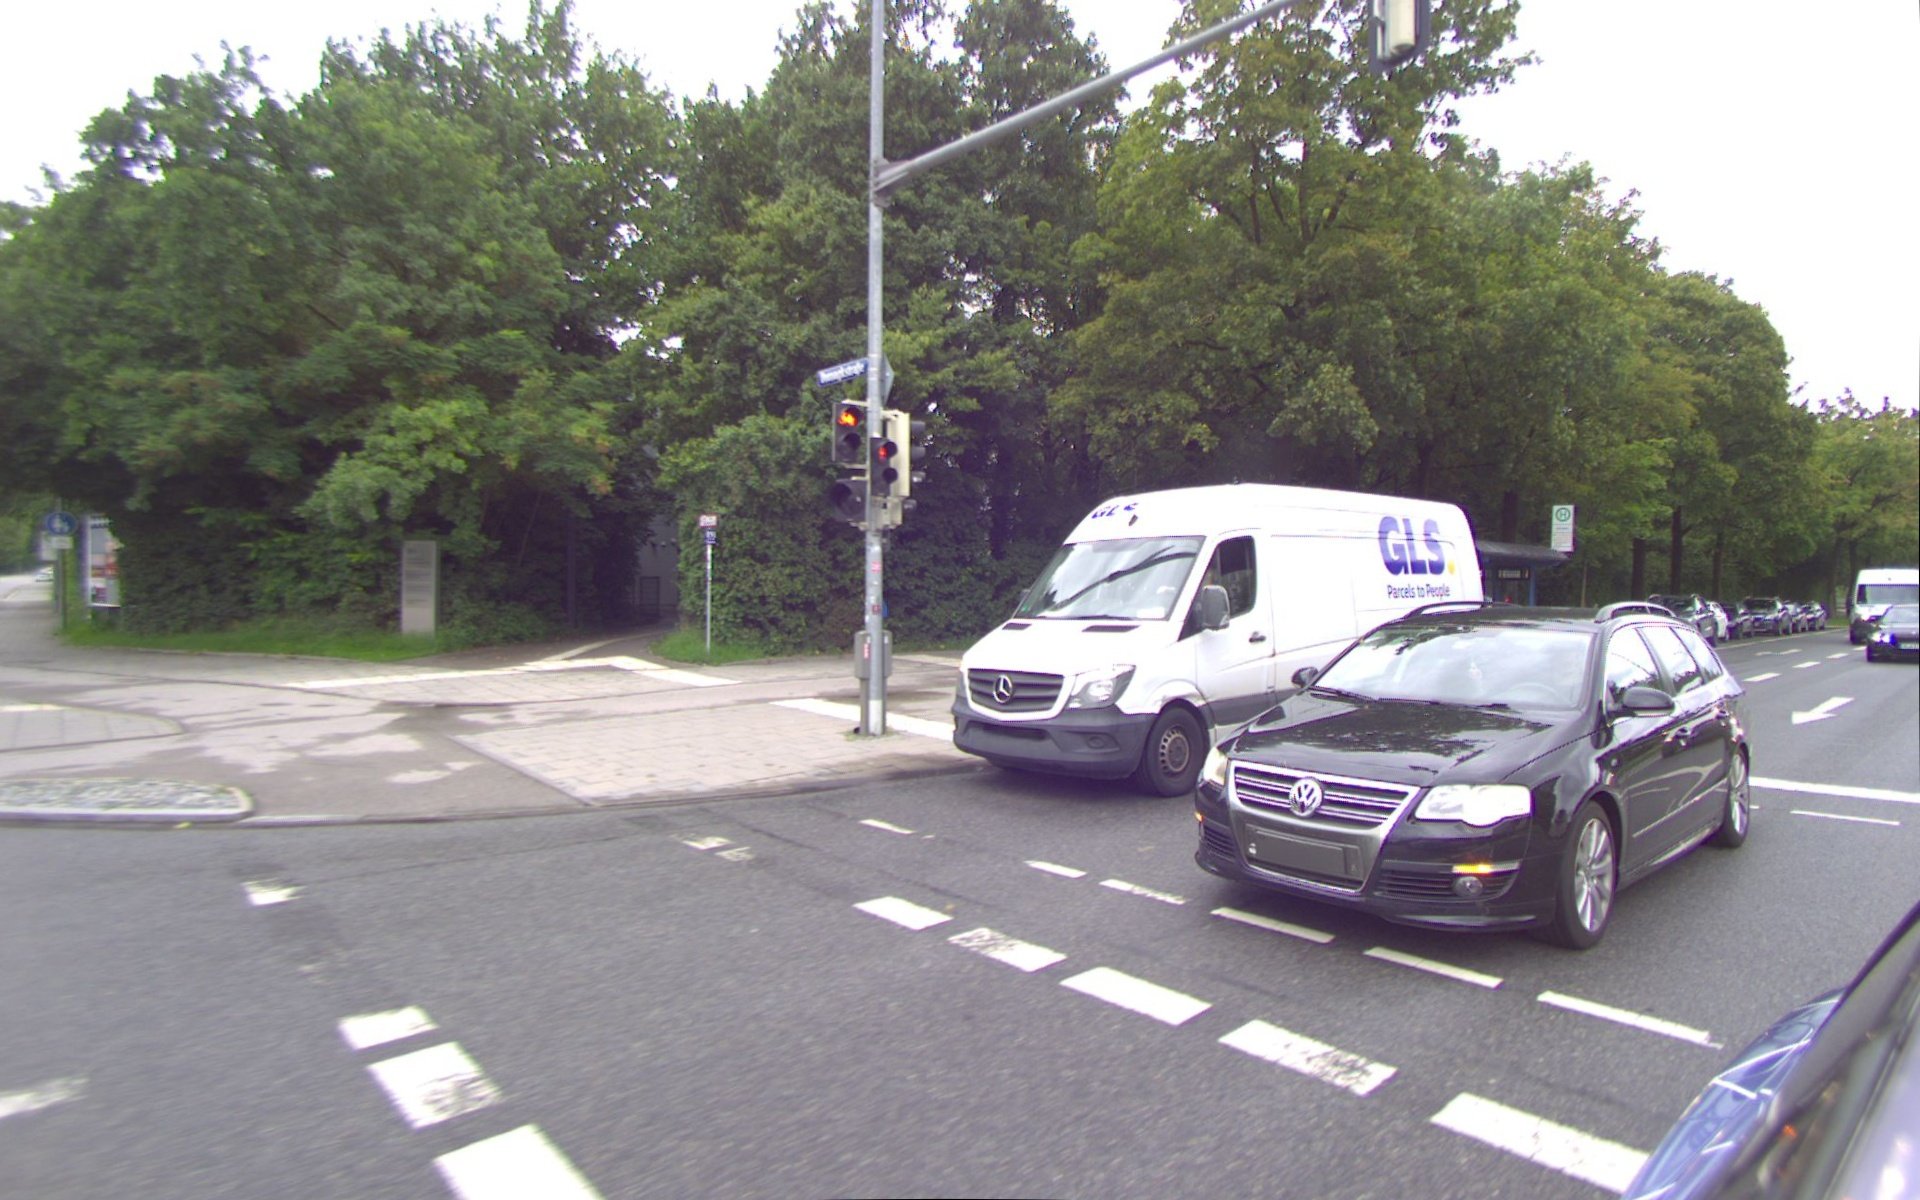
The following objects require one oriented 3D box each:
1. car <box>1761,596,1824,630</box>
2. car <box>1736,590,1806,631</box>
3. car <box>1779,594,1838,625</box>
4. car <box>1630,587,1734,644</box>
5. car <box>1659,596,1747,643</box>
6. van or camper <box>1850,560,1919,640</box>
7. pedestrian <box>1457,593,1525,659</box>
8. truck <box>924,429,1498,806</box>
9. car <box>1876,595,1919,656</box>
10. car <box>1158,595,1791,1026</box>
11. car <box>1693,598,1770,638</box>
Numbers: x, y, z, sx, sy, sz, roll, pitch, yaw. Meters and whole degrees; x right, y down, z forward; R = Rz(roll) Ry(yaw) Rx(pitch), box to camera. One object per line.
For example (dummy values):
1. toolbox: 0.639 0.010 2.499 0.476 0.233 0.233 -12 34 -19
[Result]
1. car: 38.826 0.594 47.159 3.970 1.485 1.749 0 1 -43
2. car: 34.910 0.399 43.522 4.183 1.670 1.749 0 1 -43
3. car: 42.357 0.441 50.487 4.183 1.485 1.749 0 1 -43
4. car: 23.087 0.447 32.286 4.322 1.670 1.881 0 1 -43
5. car: 26.557 0.651 36.132 4.322 1.543 1.749 0 1 -43
6. van or camper: 33.151 -0.018 35.365 6.951 2.593 2.182 0 1 -41
7. pedestrian: 11.654 0.573 22.232 0.601 1.401 1.154 0 -2 -43
8. truck: 2.990 0.093 10.194 7.103 2.636 1.996 0 1 -42
9. car: 24.520 0.599 25.349 4.590 1.447 1.817 0 0 -41
10. car: 3.206 0.719 5.739 4.592 1.493 1.749 0 0 -43
11. car: 30.474 0.661 39.918 4.183 1.446 1.749 0 1 -43
